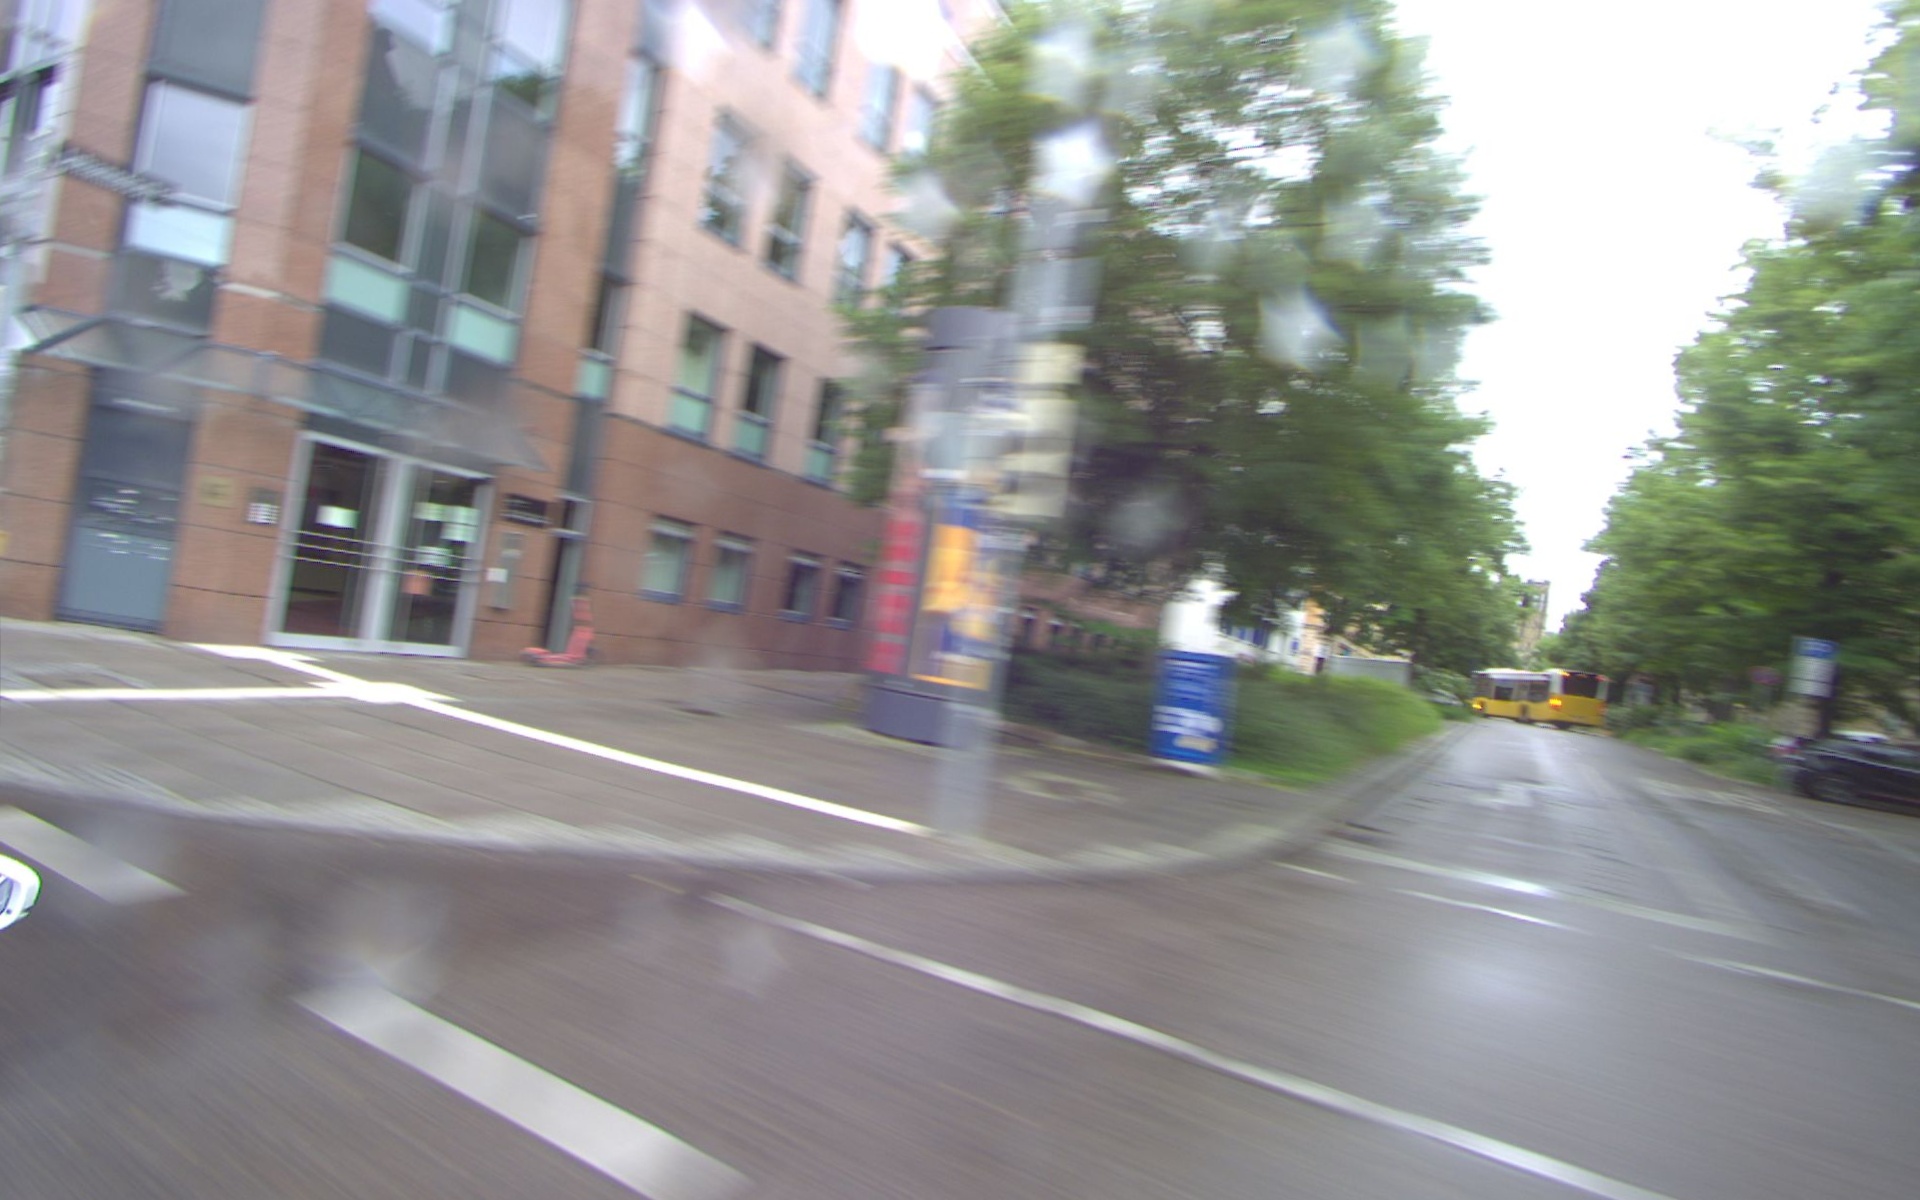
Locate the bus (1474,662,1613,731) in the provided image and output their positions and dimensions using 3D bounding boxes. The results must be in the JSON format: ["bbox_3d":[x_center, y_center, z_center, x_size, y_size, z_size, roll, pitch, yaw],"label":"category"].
[{"bbox_3d":[33.027,5.347,57.605,2.800,3.053,10.515,7,-2,8],"label":"bus"}]

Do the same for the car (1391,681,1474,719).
[{"bbox_3d":[25.581,5.370,54.471,3.803,1.498,1.700,6,0,31],"label":"car"}]

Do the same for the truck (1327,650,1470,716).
[{"bbox_3d":[21.276,3.990,48.859,5.980,2.305,2.263,7,-1,29],"label":"truck"}]

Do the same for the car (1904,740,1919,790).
[{"bbox_3d":[29.996,5.116,30.098,1.645,1.473,3.669,6,-2,31],"label":"car"}]

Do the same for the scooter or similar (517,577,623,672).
[{"bbox_3d":[-5.557,0.374,14.411,0.320,1.242,1.376,6,-1,32],"label":"scooter or similar"}]

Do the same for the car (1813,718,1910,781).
[{"bbox_3d":[35.255,5.777,39.494,1.824,2.019,5.396,6,-2,33],"label":"car"}]

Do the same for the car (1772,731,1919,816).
[{"bbox_3d":[21.670,4.138,23.497,3.804,1.478,1.677,7,-1,28],"label":"car"}]
